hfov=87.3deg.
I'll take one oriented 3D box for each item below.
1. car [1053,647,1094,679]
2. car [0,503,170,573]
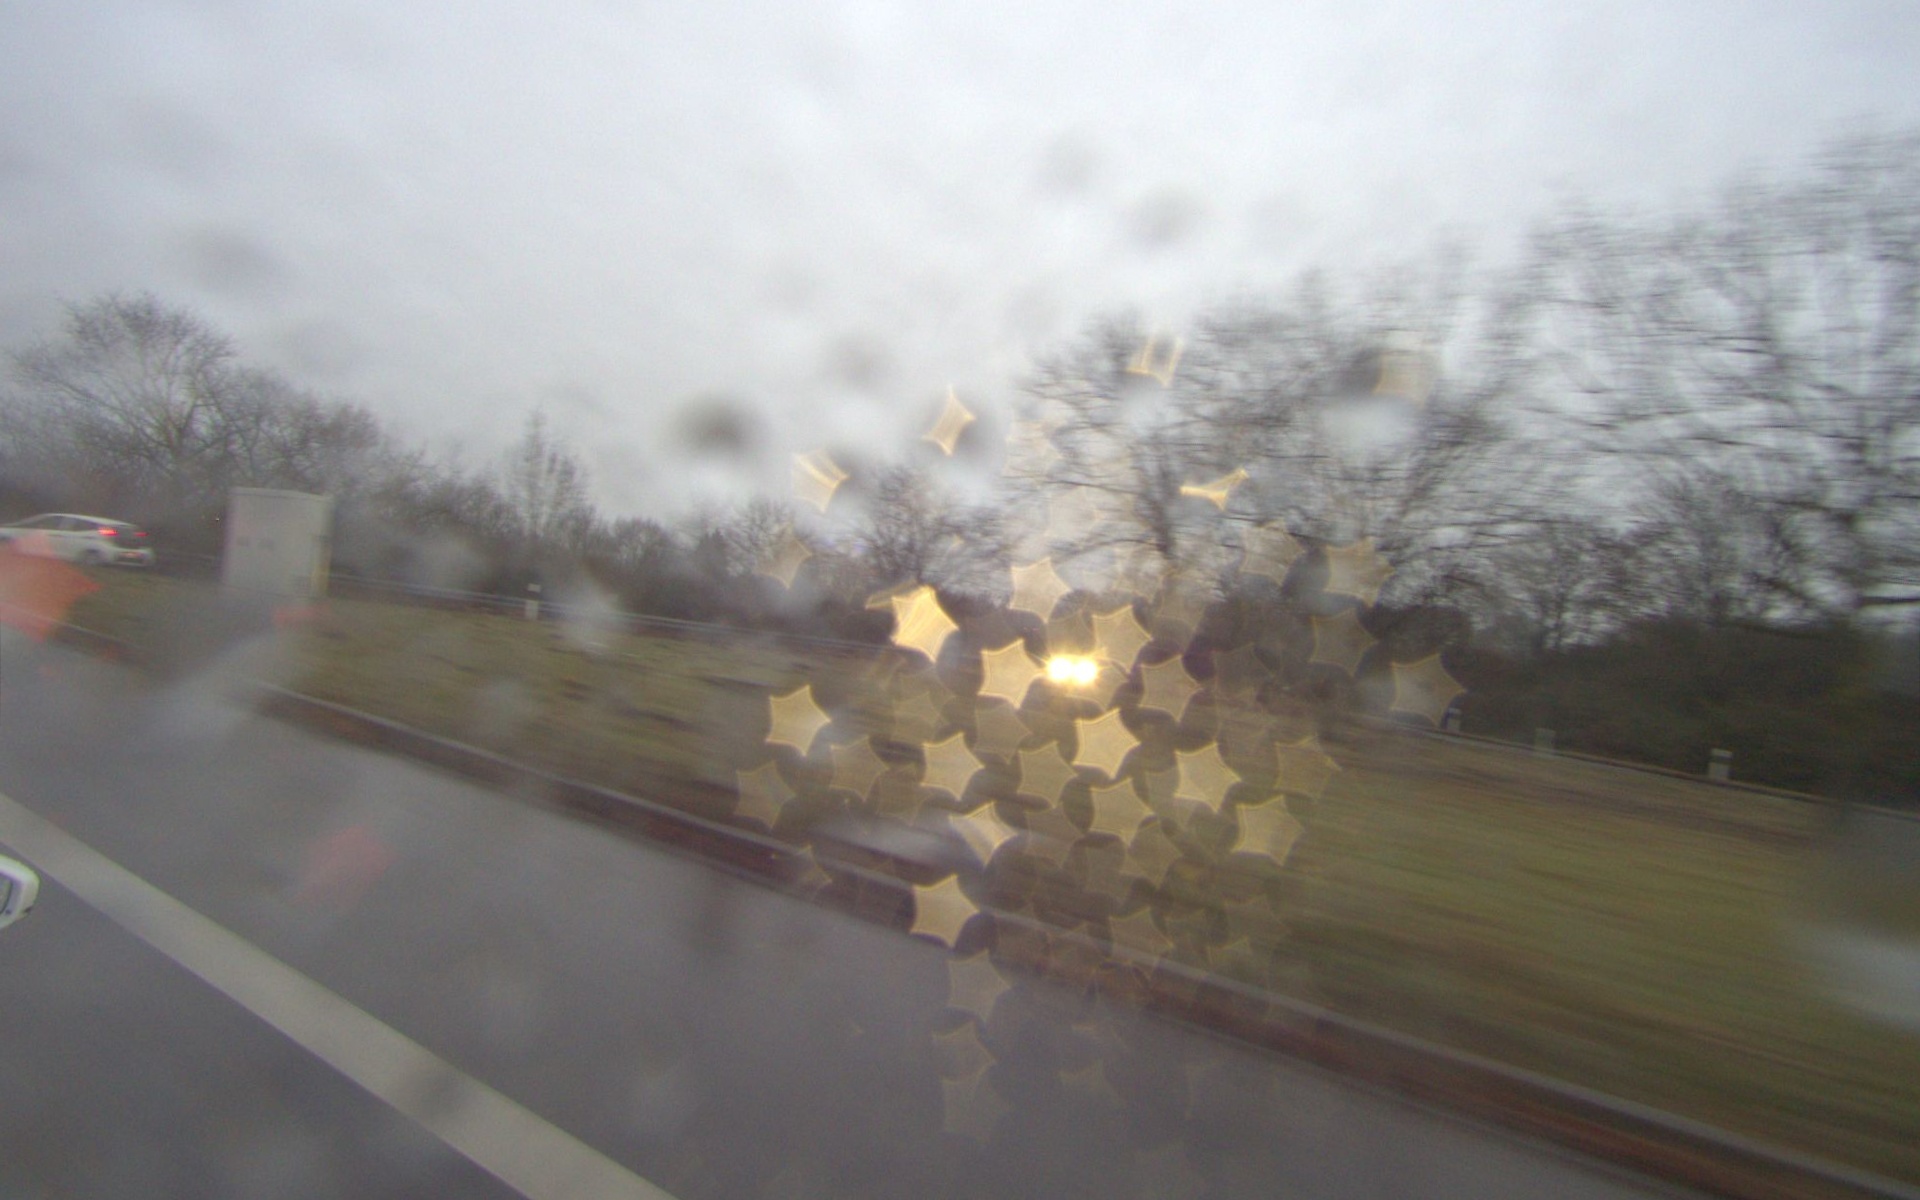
[{"bbox_3d":[6.065,3.366,54.161,1.899,1.374,4.401,8,-2,6],"label":"car"},{"bbox_3d":[-24.748,-1.744,27.868,3.929,1.362,1.999,8,-1,-4],"label":"car"}]
